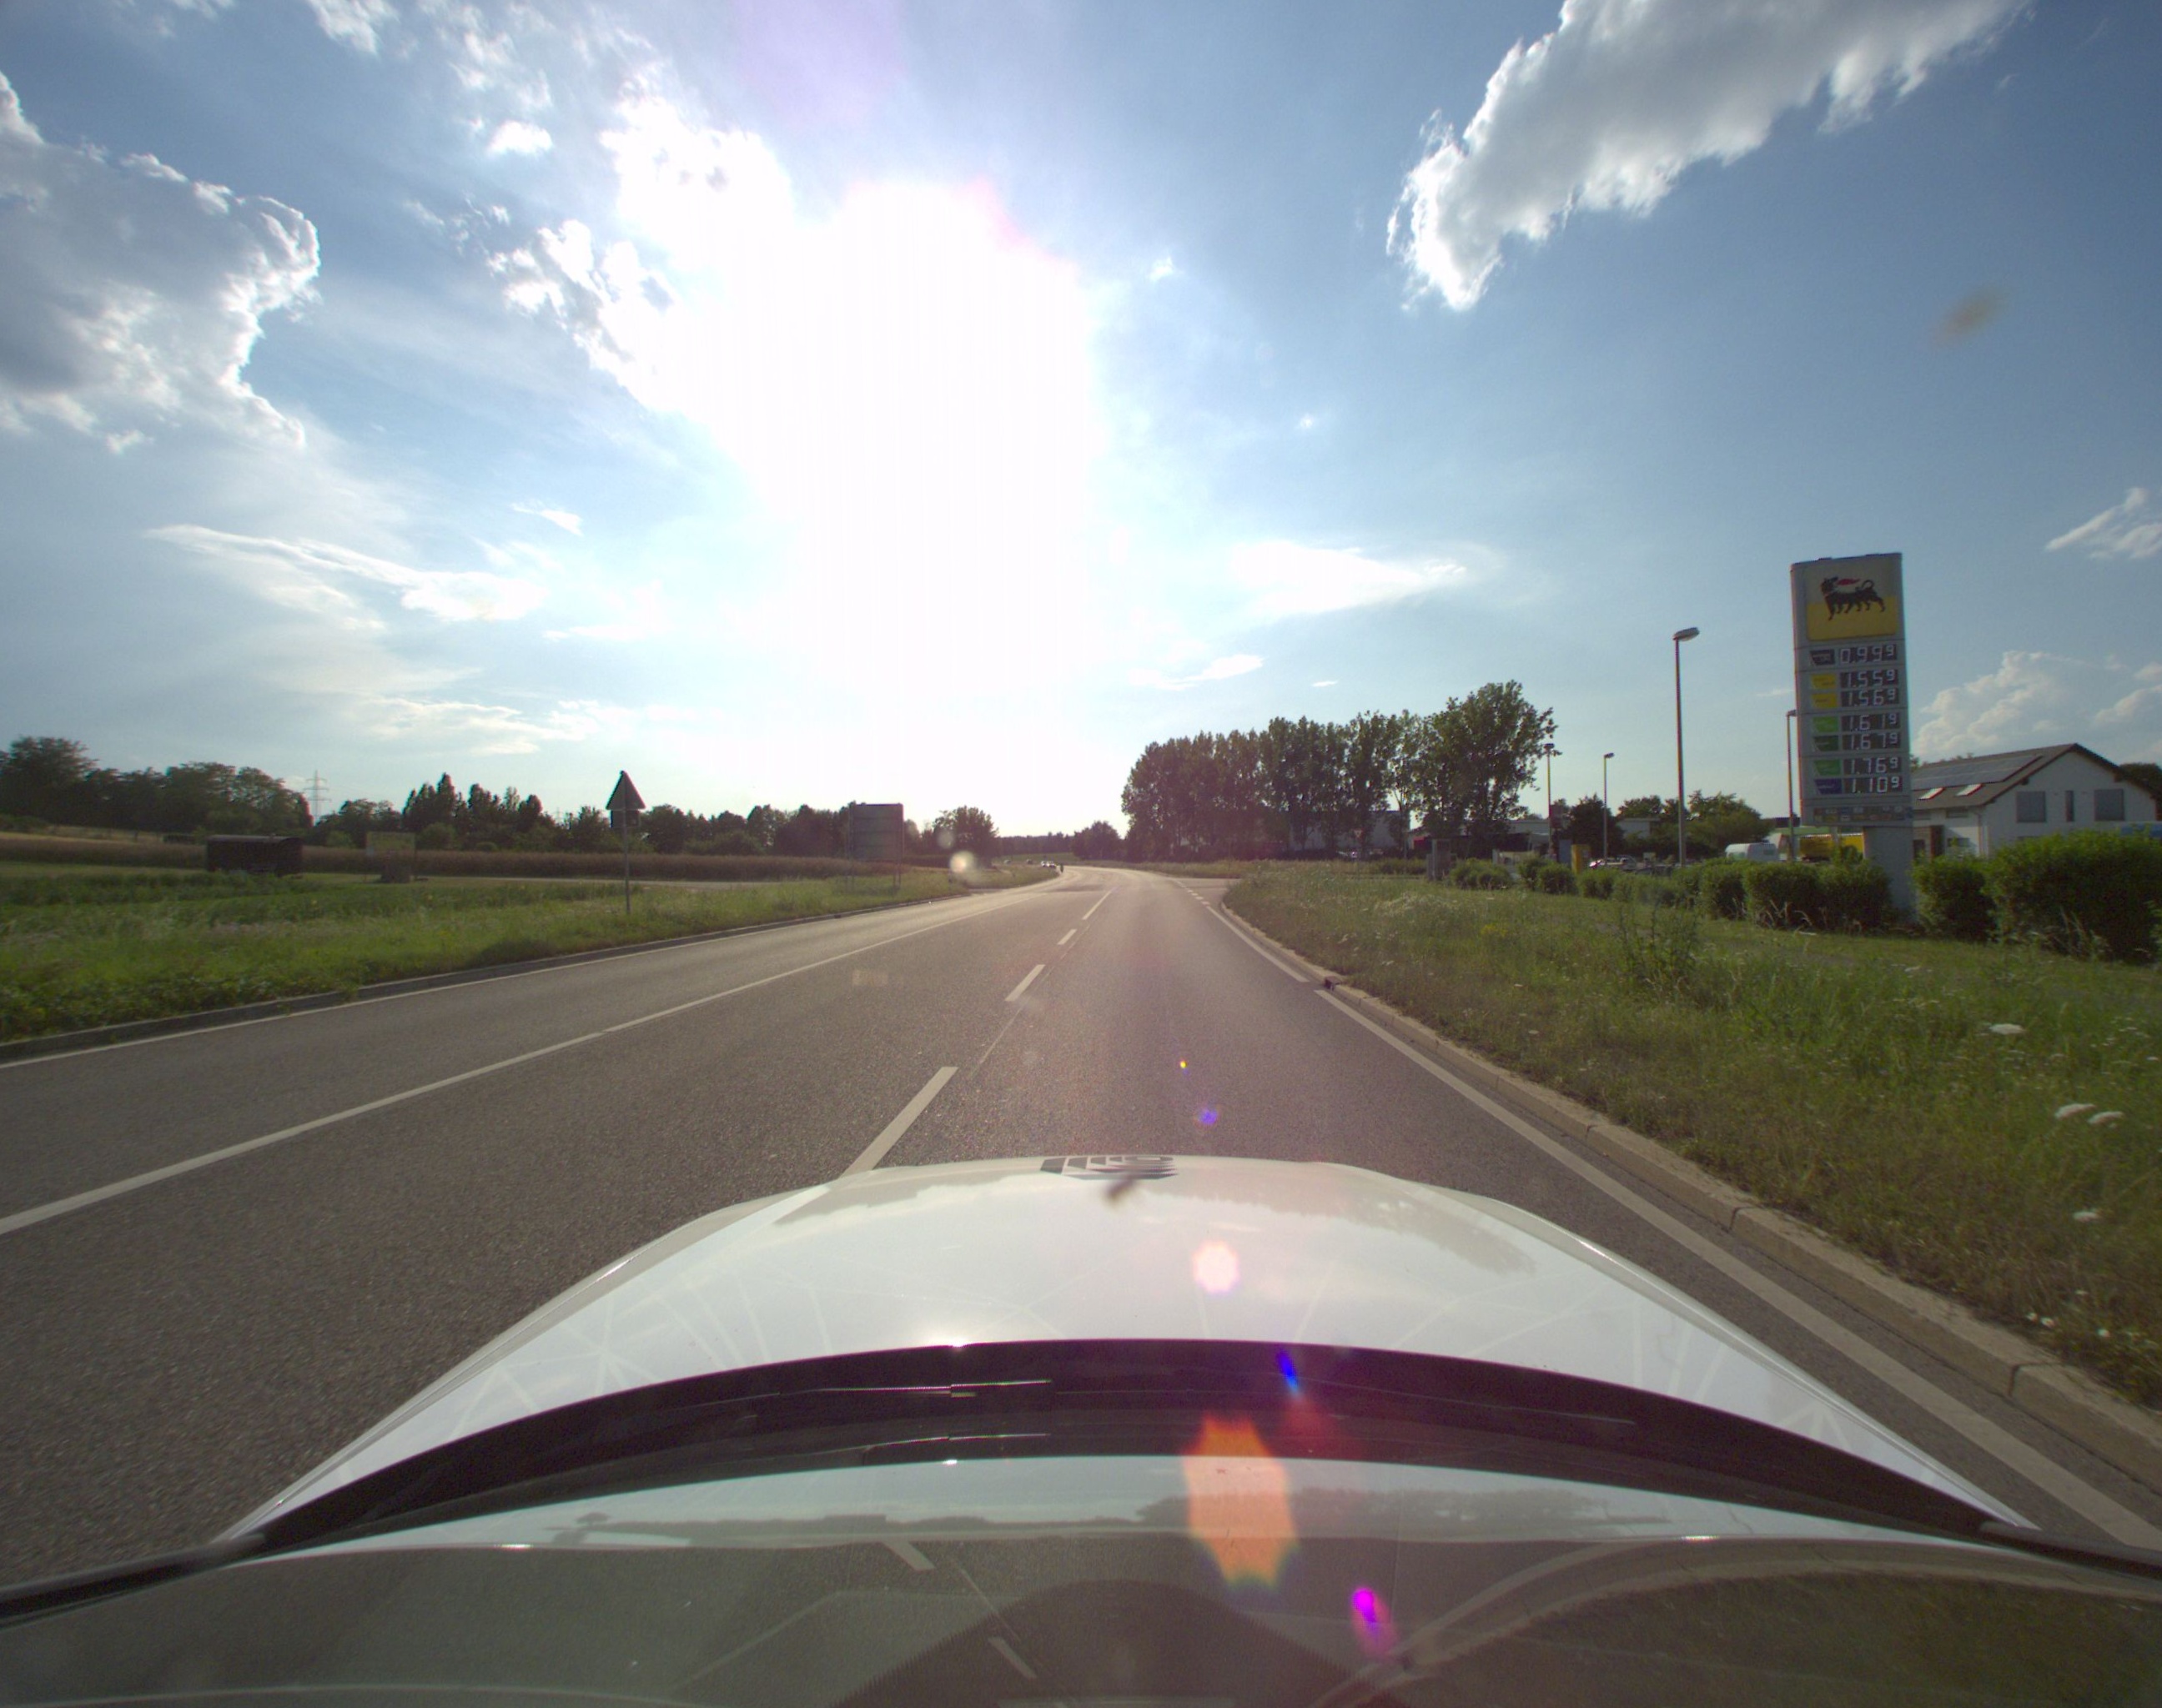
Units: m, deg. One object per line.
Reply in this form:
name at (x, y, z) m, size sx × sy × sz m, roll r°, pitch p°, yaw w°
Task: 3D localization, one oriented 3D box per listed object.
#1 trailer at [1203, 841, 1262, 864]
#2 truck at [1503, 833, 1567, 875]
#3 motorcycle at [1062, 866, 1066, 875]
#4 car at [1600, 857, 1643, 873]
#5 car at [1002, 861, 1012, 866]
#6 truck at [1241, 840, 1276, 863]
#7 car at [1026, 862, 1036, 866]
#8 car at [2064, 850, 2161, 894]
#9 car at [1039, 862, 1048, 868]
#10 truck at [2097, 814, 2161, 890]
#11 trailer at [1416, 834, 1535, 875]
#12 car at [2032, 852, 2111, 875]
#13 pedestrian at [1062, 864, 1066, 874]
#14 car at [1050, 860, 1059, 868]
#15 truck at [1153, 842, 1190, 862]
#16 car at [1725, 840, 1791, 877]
trailer at (24.337, -0.131, 131.966) m, size 2.694 × 3.142 × 13.169 m, roll 2°, pitch -3°, yaw -22°
truck at (44.224, 0.037, 79.446) m, size 2.254 × 3.916 × 5.076 m, roll 2°, pitch -2°, yaw -25°
motorcycle at (-2.664, 2.533, 126.385) m, size 0.583 × 1.261 × 2.120 m, roll 2°, pitch -2°, yaw 1°
car at (50.359, 1.023, 75.932) m, size 1.562 × 1.378 × 3.116 m, roll 2°, pitch -2°, yaw -13°
car at (-21.294, 2.763, 235.307) m, size 1.857 × 1.408 × 3.618 m, roll 2°, pitch -2°, yaw -21°
truck at (27.189, -0.374, 124.957) m, size 2.631 × 3.162 × 5.665 m, roll 2°, pitch -3°, yaw -23°
car at (-13.261, 2.628, 213.988) m, size 1.970 × 1.151 × 3.849 m, roll 2°, pitch -2°, yaw -13°
car at (50.782, 0.862, 39.230) m, size 1.771 × 2.014 × 4.056 m, roll 3°, pitch -2°, yaw -24°
car at (-8.086, 2.393, 176.113) m, size 1.680 × 1.349 × 3.631 m, roll 1°, pitch 0°, yaw -1°
truck at (55.907, 0.009, 41.468) m, size 8.009 × 3.689 × 2.749 m, roll 2°, pitch -1°, yaw -20°
trailer at (41.462, 0.155, 86.489) m, size 2.250 × 3.916 × 13.629 m, roll 2°, pitch -2°, yaw -20°
car at (64.761, 0.645, 53.275) m, size 3.587 × 1.394 × 1.843 m, roll 2°, pitch -2°, yaw -11°
pedestrian at (-2.663, 2.317, 126.443) m, size 0.564 × 1.505 × 0.865 m, roll 1°, pitch -1°, yaw 0°
car at (-5.282, 1.985, 160.105) m, size 1.680 × 1.349 × 3.997 m, roll -2°, pitch -1°, yaw -1°
truck at (16.218, -0.268, 146.432) m, size 2.520 × 3.377 × 9.619 m, roll 2°, pitch -2°, yaw -20°
car at (50.237, 0.416, 60.606) m, size 2.209 × 2.519 × 6.857 m, roll 1°, pitch -2°, yaw 26°
